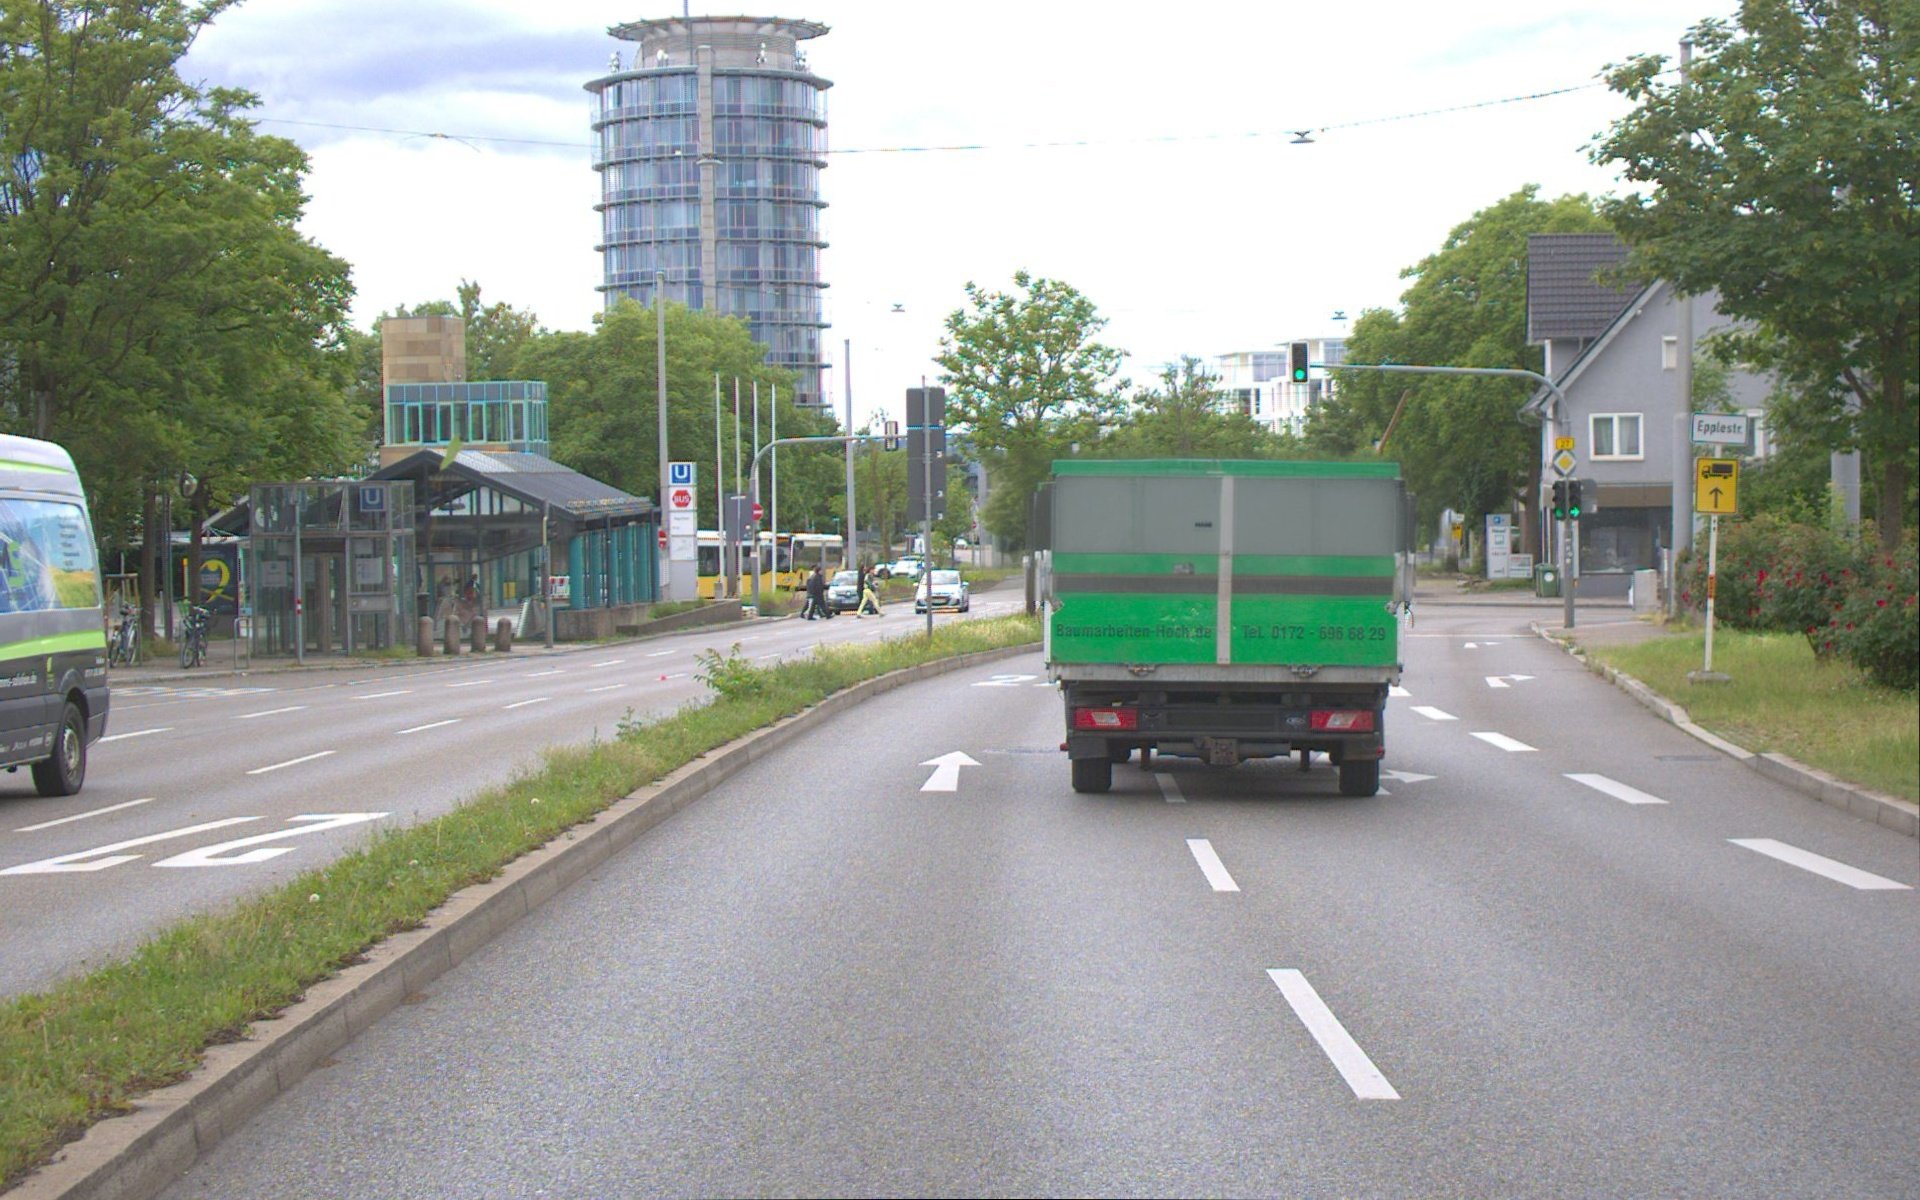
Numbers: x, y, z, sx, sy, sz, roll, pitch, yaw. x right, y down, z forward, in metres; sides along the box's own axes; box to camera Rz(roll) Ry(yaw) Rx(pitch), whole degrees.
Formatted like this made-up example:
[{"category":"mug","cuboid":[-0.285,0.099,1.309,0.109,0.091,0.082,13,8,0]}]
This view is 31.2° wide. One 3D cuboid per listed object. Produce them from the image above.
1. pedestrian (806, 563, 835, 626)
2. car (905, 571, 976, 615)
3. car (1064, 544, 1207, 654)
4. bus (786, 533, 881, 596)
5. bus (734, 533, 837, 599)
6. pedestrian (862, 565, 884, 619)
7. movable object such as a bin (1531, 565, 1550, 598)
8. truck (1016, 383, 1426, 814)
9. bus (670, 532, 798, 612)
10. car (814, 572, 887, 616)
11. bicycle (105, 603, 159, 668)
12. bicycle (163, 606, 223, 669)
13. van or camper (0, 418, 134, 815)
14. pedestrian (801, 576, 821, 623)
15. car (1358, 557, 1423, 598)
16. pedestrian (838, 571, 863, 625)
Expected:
[{"category":"pedestrian","cuboid":[-4.470,-0.181,110.196,0.830,2.007,0.546,-1,0,1]},{"category":"car","cuboid":[-0.650,-0.262,120.528,1.994,1.481,3.999,-1,0,7]},{"category":"car","cuboid":[3.065,-0.034,59.324,1.994,1.824,3.998,0,0,10]},{"category":"bus","cuboid":[-7.156,-2.018,196.352,2.833,3.419,10.727,-1,0,12]},{"category":"bus","cuboid":[-9.357,-1.836,185.827,2.833,3.419,10.727,-1,0,12]},{"category":"pedestrian","cuboid":[-2.765,-0.252,109.777,0.653,1.710,0.452,-1,0,1]},{"category":"movable object such as a bin","cuboid":[18.643,-0.609,110.425,0.604,1.056,0.589,1,0,10]},{"category":"truck","cuboid":[1.870,-0.104,24.122,2.471,2.602,6.547,0,2,5]},{"category":"bus","cuboid":[-10.024,-1.244,153.893,2.833,3.419,10.727,-1,0,12]},{"category":"car","cuboid":[-3.839,-0.218,121.212,1.994,1.481,3.999,-1,0,7]},{"category":"bicycle","cuboid":[-15.006,0.631,62.336,0.713,1.132,1.957,-1,1,-7]},{"category":"bicycle","cuboid":[-13.894,0.666,62.338,0.830,1.080,1.936,-1,1,-6]},{"category":"van or camper","cuboid":[-7.300,0.140,22.719,2.032,2.589,6.116,-3,1,1]},{"category":"pedestrian","cuboid":[-4.817,-0.014,111.268,0.543,1.491,0.486,-1,0,6]},{"category":"car","cuboid":[17.065,-0.899,136.392,1.993,1.547,4.000,-1,0,-1]},{"category":"pedestrian","cuboid":[-3.506,-0.064,110.271,0.745,1.710,0.583,-1,0,1]}]
